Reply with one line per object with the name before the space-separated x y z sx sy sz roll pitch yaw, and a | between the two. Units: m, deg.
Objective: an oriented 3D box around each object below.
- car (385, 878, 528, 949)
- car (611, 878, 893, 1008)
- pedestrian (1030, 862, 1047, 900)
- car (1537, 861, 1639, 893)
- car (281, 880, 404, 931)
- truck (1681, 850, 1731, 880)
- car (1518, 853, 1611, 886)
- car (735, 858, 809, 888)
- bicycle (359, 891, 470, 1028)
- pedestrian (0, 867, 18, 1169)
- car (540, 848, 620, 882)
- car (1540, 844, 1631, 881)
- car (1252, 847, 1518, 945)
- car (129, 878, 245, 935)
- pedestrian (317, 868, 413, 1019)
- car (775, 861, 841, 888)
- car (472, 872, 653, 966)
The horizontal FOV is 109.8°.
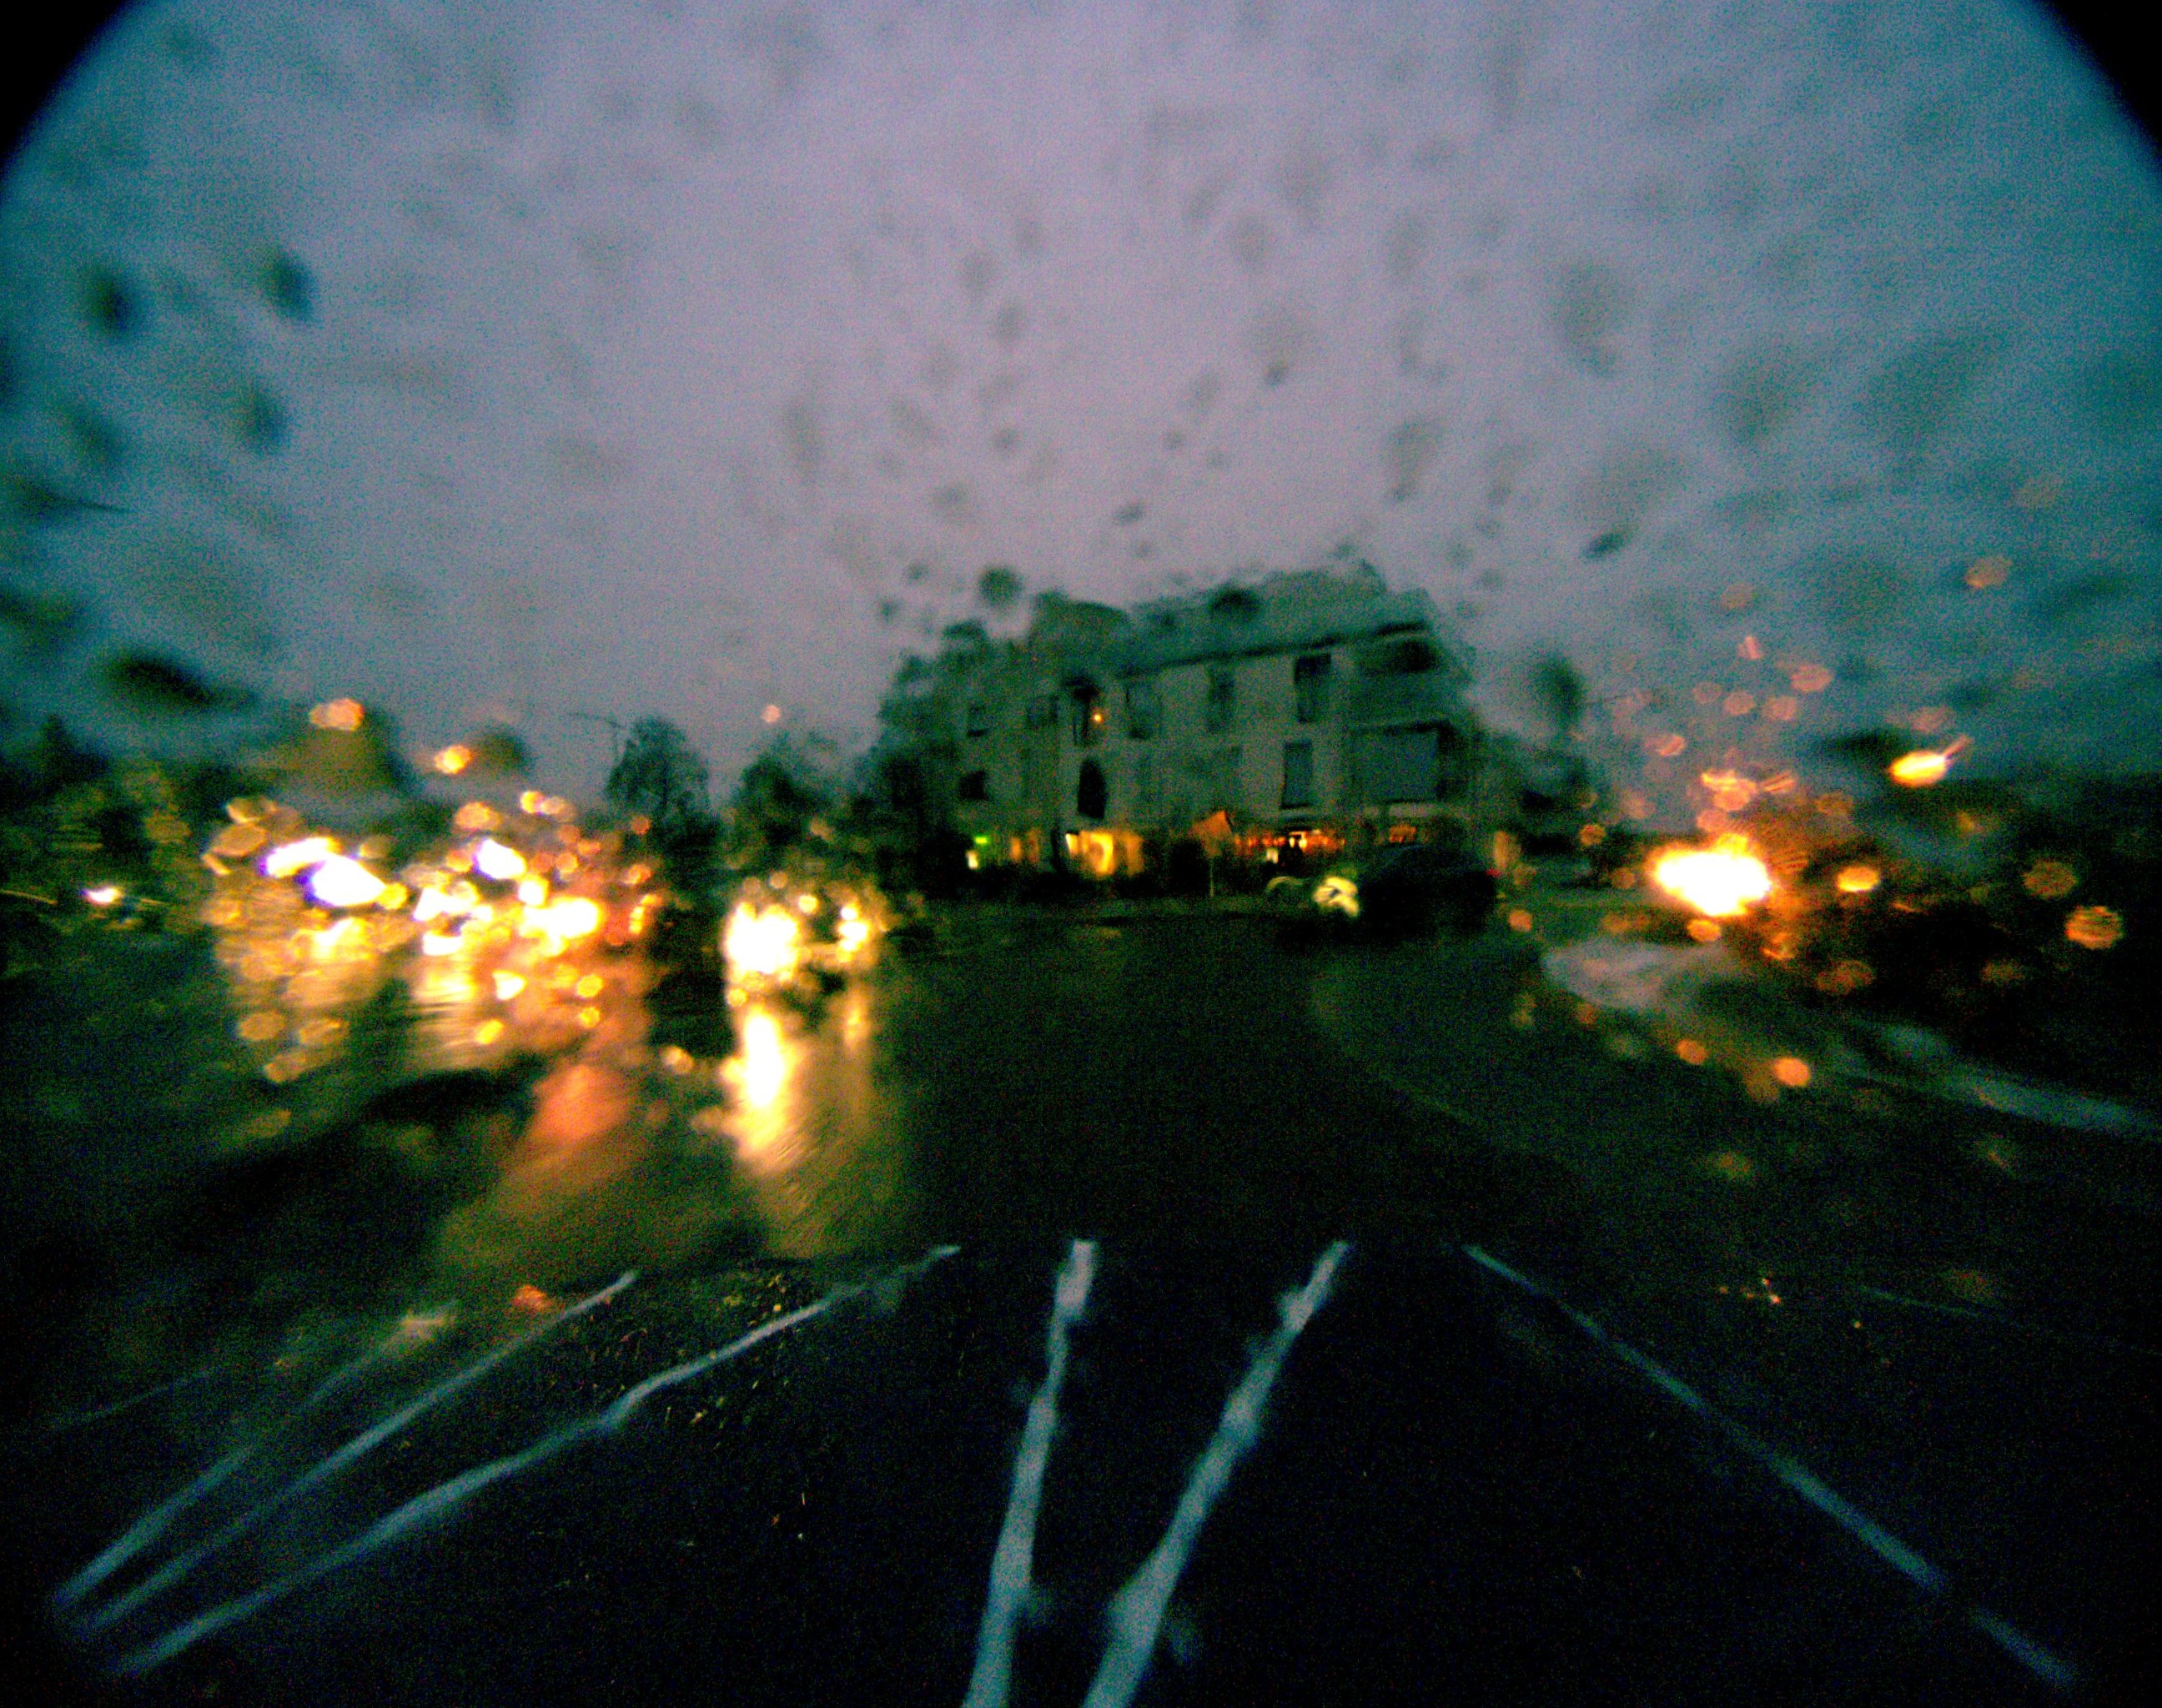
car | -15.650 1.396 18.967 4.245 1.499 1.700 -1 1 36
car | -4.783 1.122 10.797 4.223 1.376 1.854 -2 1 39
pedestrian | -1.651 1.046 29.395 0.451 1.446 0.554 0 0 26
car | 27.623 1.226 41.575 4.509 1.483 1.979 2 0 32
car | -23.751 1.601 24.415 3.989 1.444 1.886 -1 0 31
truck | 49.212 0.839 59.950 2.243 2.217 6.117 -1 0 32
car | 25.435 0.788 40.145 3.988 1.495 1.817 2 2 28
car | -16.436 1.008 40.405 3.757 1.507 1.719 -1 0 32
bicycle | -7.384 1.096 8.505 0.552 1.288 1.938 1 -1 -30
pedestrian | -5.849 0.869 3.720 0.583 1.611 0.715 1 -1 -42
car | -30.773 0.673 46.646 4.845 2.002 2.218 -1 0 32
car | 31.834 0.522 48.030 4.539 1.923 1.979 6 3 34
car | 5.901 0.756 14.821 4.636 1.583 1.951 -2 -1 -20
car | -26.827 1.511 22.769 3.989 1.519 1.668 -1 -1 32
pedestrian | -7.794 0.933 8.297 0.611 1.555 0.690 0 0 -30
car | -15.374 1.135 42.820 3.435 1.465 1.522 -1 0 27
car | -10.393 1.197 15.148 3.989 1.543 1.700 -2 1 37
